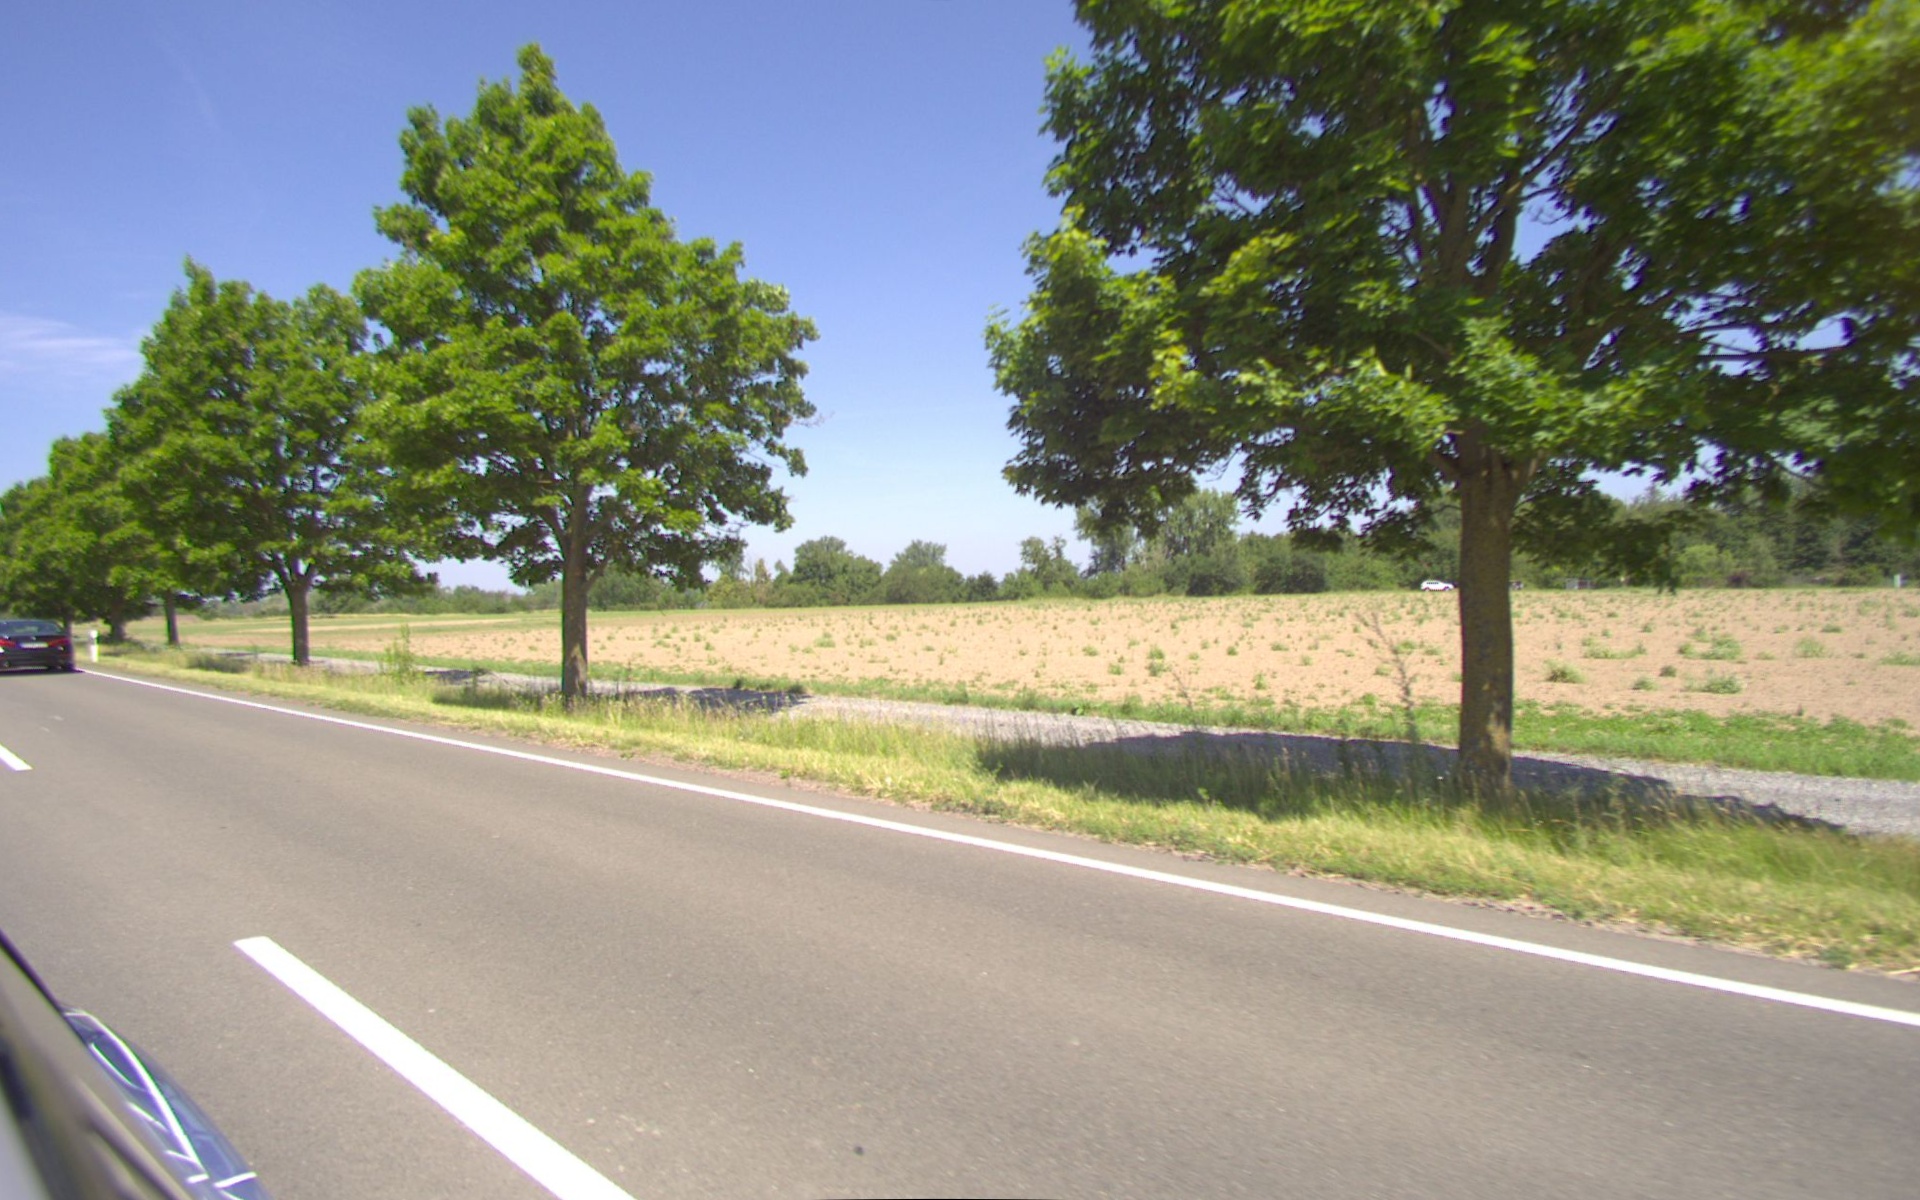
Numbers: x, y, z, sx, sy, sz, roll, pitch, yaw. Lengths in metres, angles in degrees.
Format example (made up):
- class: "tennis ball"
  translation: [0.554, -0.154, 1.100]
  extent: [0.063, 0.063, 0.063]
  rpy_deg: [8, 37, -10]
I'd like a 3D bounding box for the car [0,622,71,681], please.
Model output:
- class: "car"
  translation: [-25.677, 1.352, 27.461]
  extent: [4.587, 1.431, 1.803]
  rpy_deg: [-1, 0, 42]
